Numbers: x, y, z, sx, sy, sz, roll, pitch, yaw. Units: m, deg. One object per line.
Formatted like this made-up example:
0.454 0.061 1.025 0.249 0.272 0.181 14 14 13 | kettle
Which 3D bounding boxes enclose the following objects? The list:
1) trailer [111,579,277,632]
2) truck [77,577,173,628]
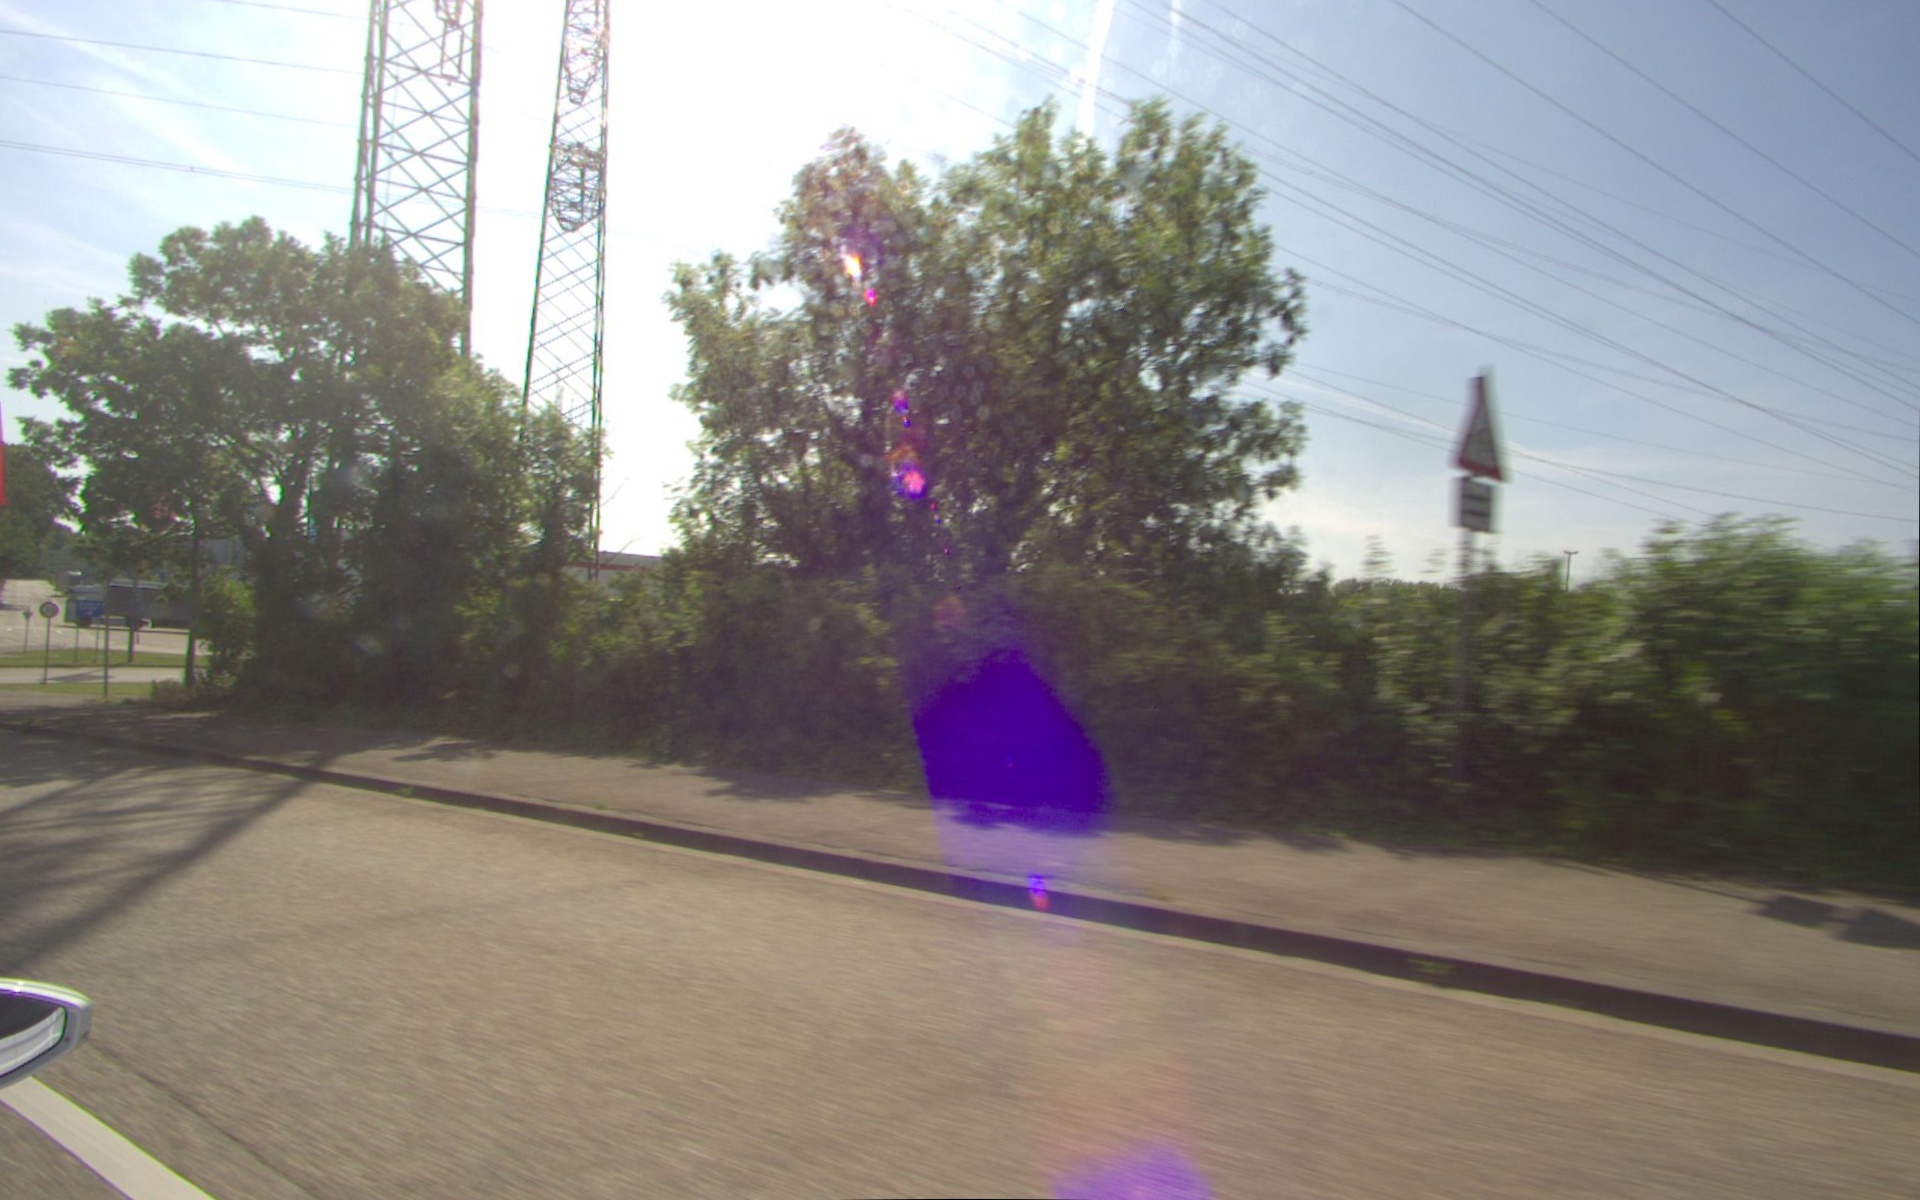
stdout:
-75.141 0.587 98.751 12.554 4.473 3.732 4 -1 -33 | trailer
-79.689 0.243 95.733 6.485 4.473 3.730 4 -1 -34 | truck
